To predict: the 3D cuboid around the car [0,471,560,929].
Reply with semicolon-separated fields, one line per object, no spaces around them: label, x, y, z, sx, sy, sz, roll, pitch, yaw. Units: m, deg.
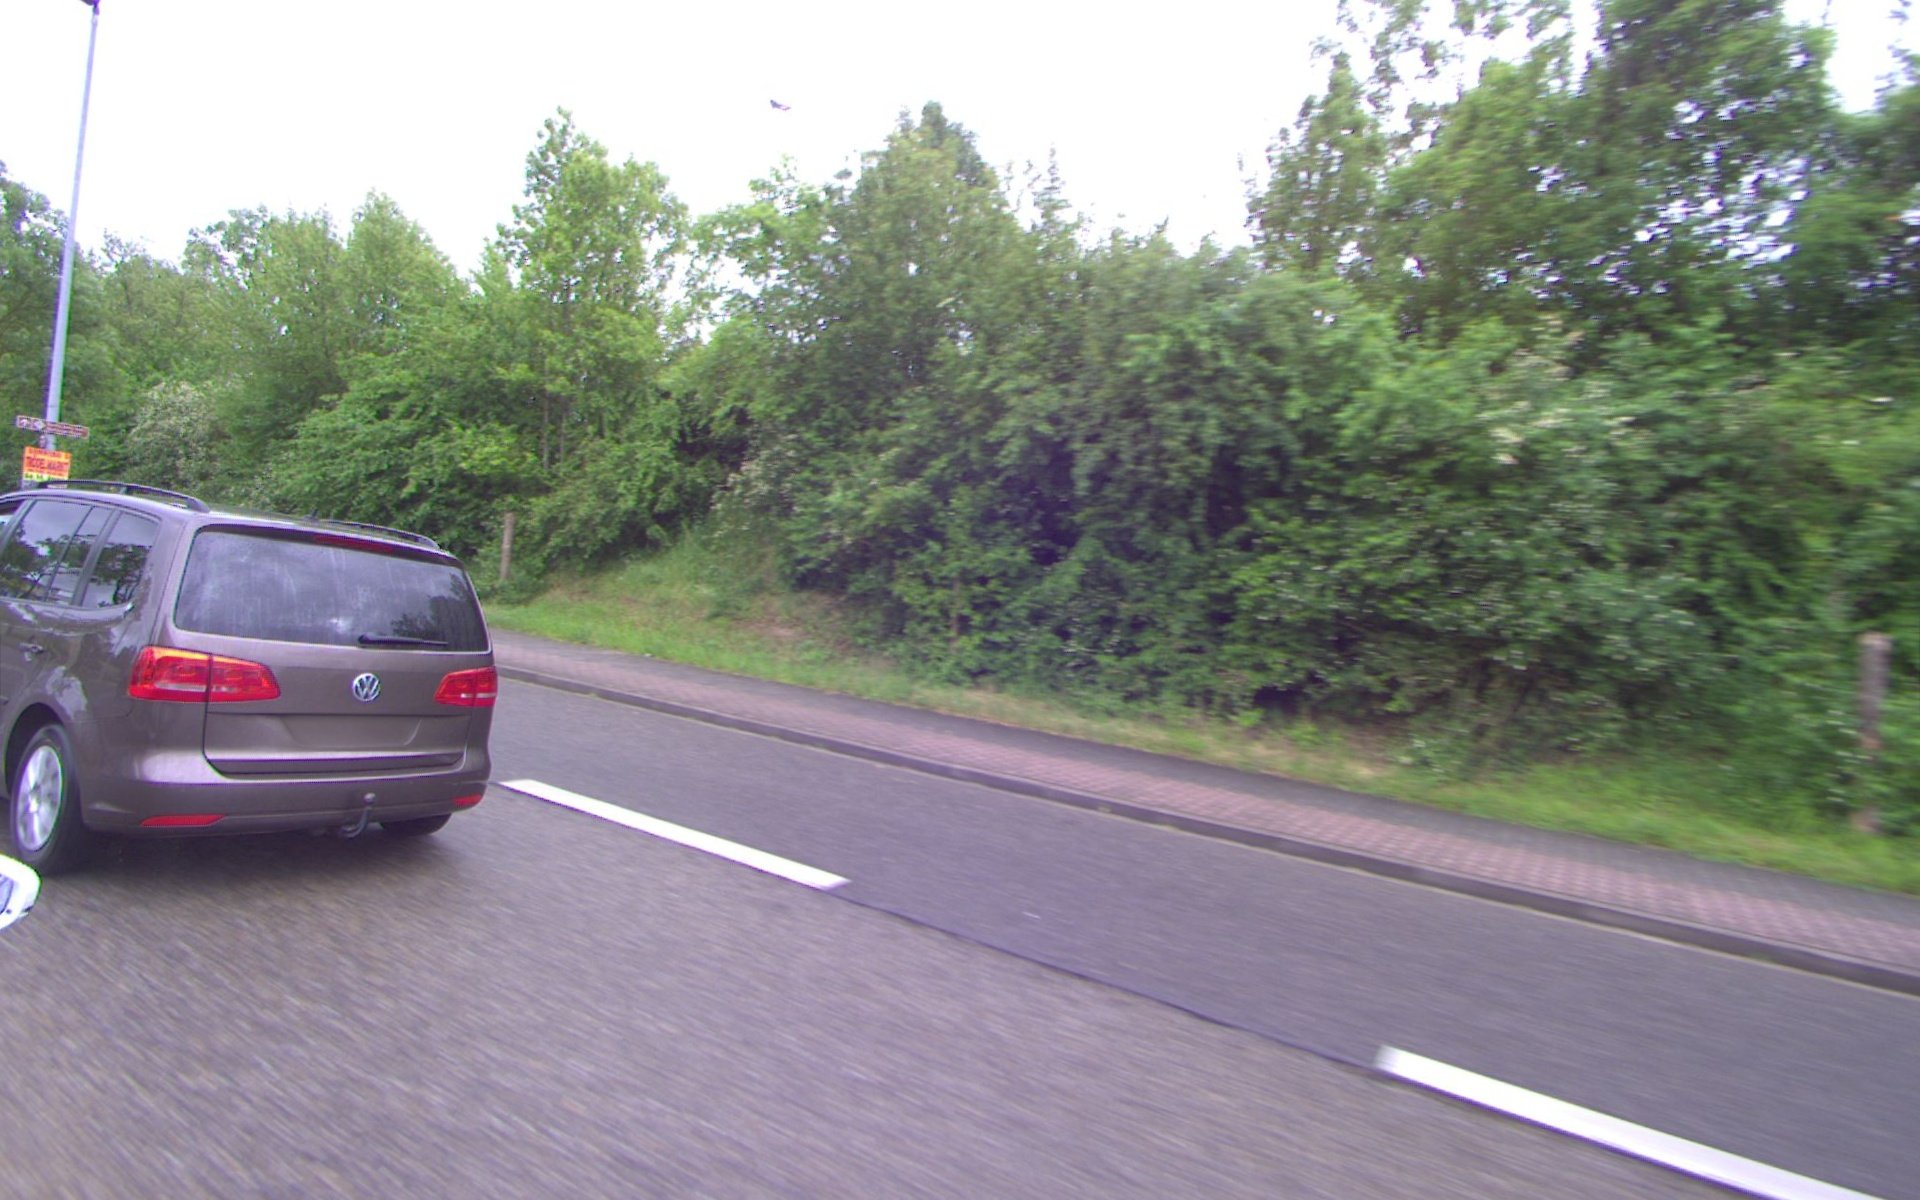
car;-4.292;0.276;5.398;4.061;1.615;1.718;6;-2;30
